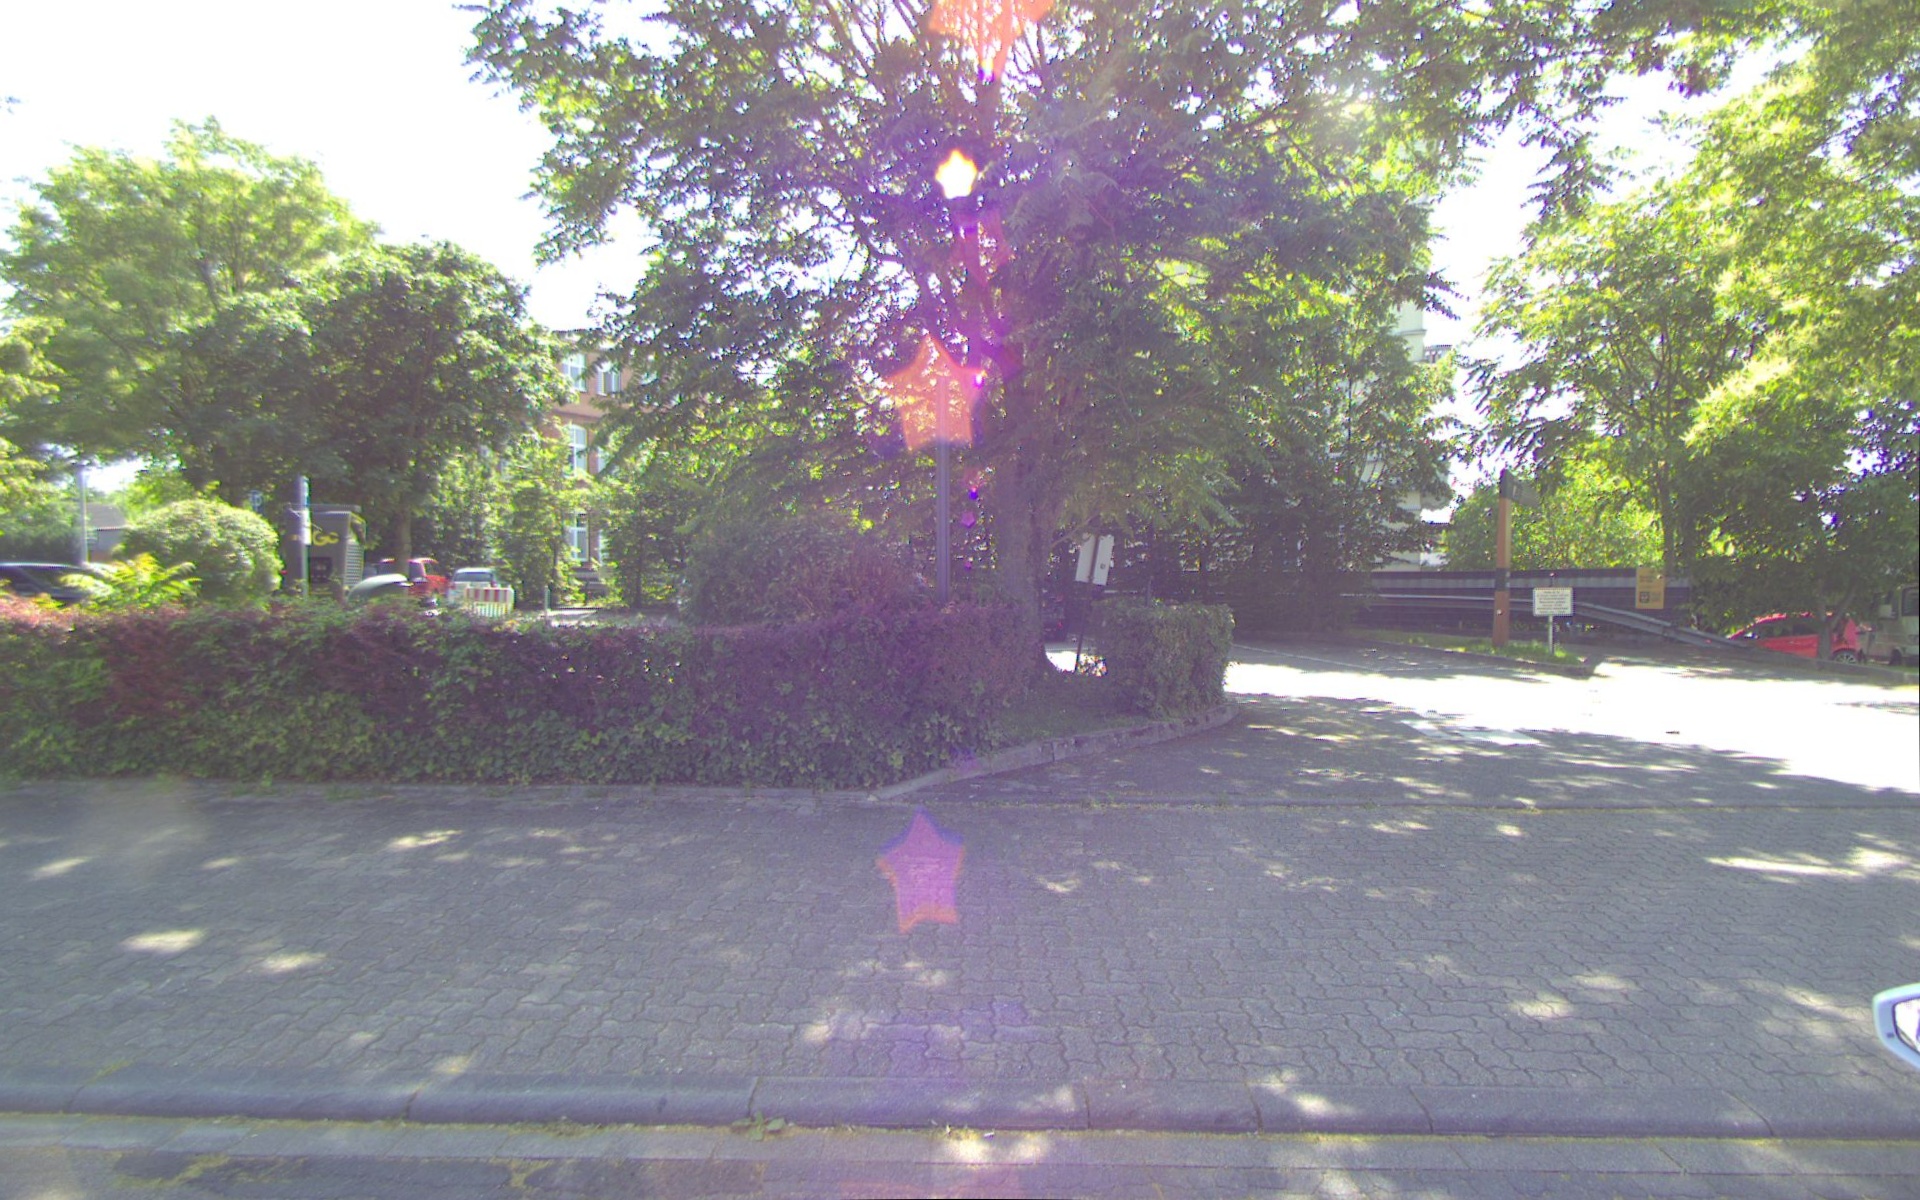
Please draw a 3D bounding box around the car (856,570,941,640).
[{"bbox_3d":[-1.568,0.056,24.361,1.673,1.473,3.993,-1,3,-9],"label":"car"}]

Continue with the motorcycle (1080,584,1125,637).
[{"bbox_3d":[3.324,0.223,23.487,0.467,1.156,1.600,-1,2,-15],"label":"motorcycle"}]

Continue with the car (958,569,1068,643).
[{"bbox_3d":[1.136,0.060,23.398,1.632,1.490,3.895,-1,3,-11],"label":"car"}]

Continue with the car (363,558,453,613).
[{"bbox_3d":[-19.336,-0.585,35.375,1.744,1.758,3.987,-2,3,-15],"label":"car"}]

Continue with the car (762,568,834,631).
[{"bbox_3d":[-4.346,-0.090,27.368,1.741,1.490,3.994,-1,3,-7],"label":"car"}]

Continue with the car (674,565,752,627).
[{"bbox_3d":[-6.977,-0.178,28.734,1.741,1.593,3.993,0,3,-8],"label":"car"}]

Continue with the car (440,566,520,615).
[{"bbox_3d":[-16.157,-0.371,33.990,1.745,1.496,3.985,-1,3,-16],"label":"car"}]

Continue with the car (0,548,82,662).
[{"bbox_3d":[-16.570,0.056,15.543,4.281,1.708,1.862,1,0,0],"label":"car"}]

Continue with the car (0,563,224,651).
[{"bbox_3d":[-16.078,0.120,18.060,4.281,1.472,1.862,1,0,0],"label":"car"}]

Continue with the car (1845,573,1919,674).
[{"bbox_3d":[17.422,0.354,17.897,1.926,1.605,5.013,3,3,36],"label":"car"}]

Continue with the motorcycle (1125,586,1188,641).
[{"bbox_3d":[4.407,0.277,22.598,0.562,1.185,1.595,-1,2,-25],"label":"motorcycle"}]

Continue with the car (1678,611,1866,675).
[{"bbox_3d":[20.081,1.020,25.004,3.351,1.397,1.484,0,3,27],"label":"car"}]
